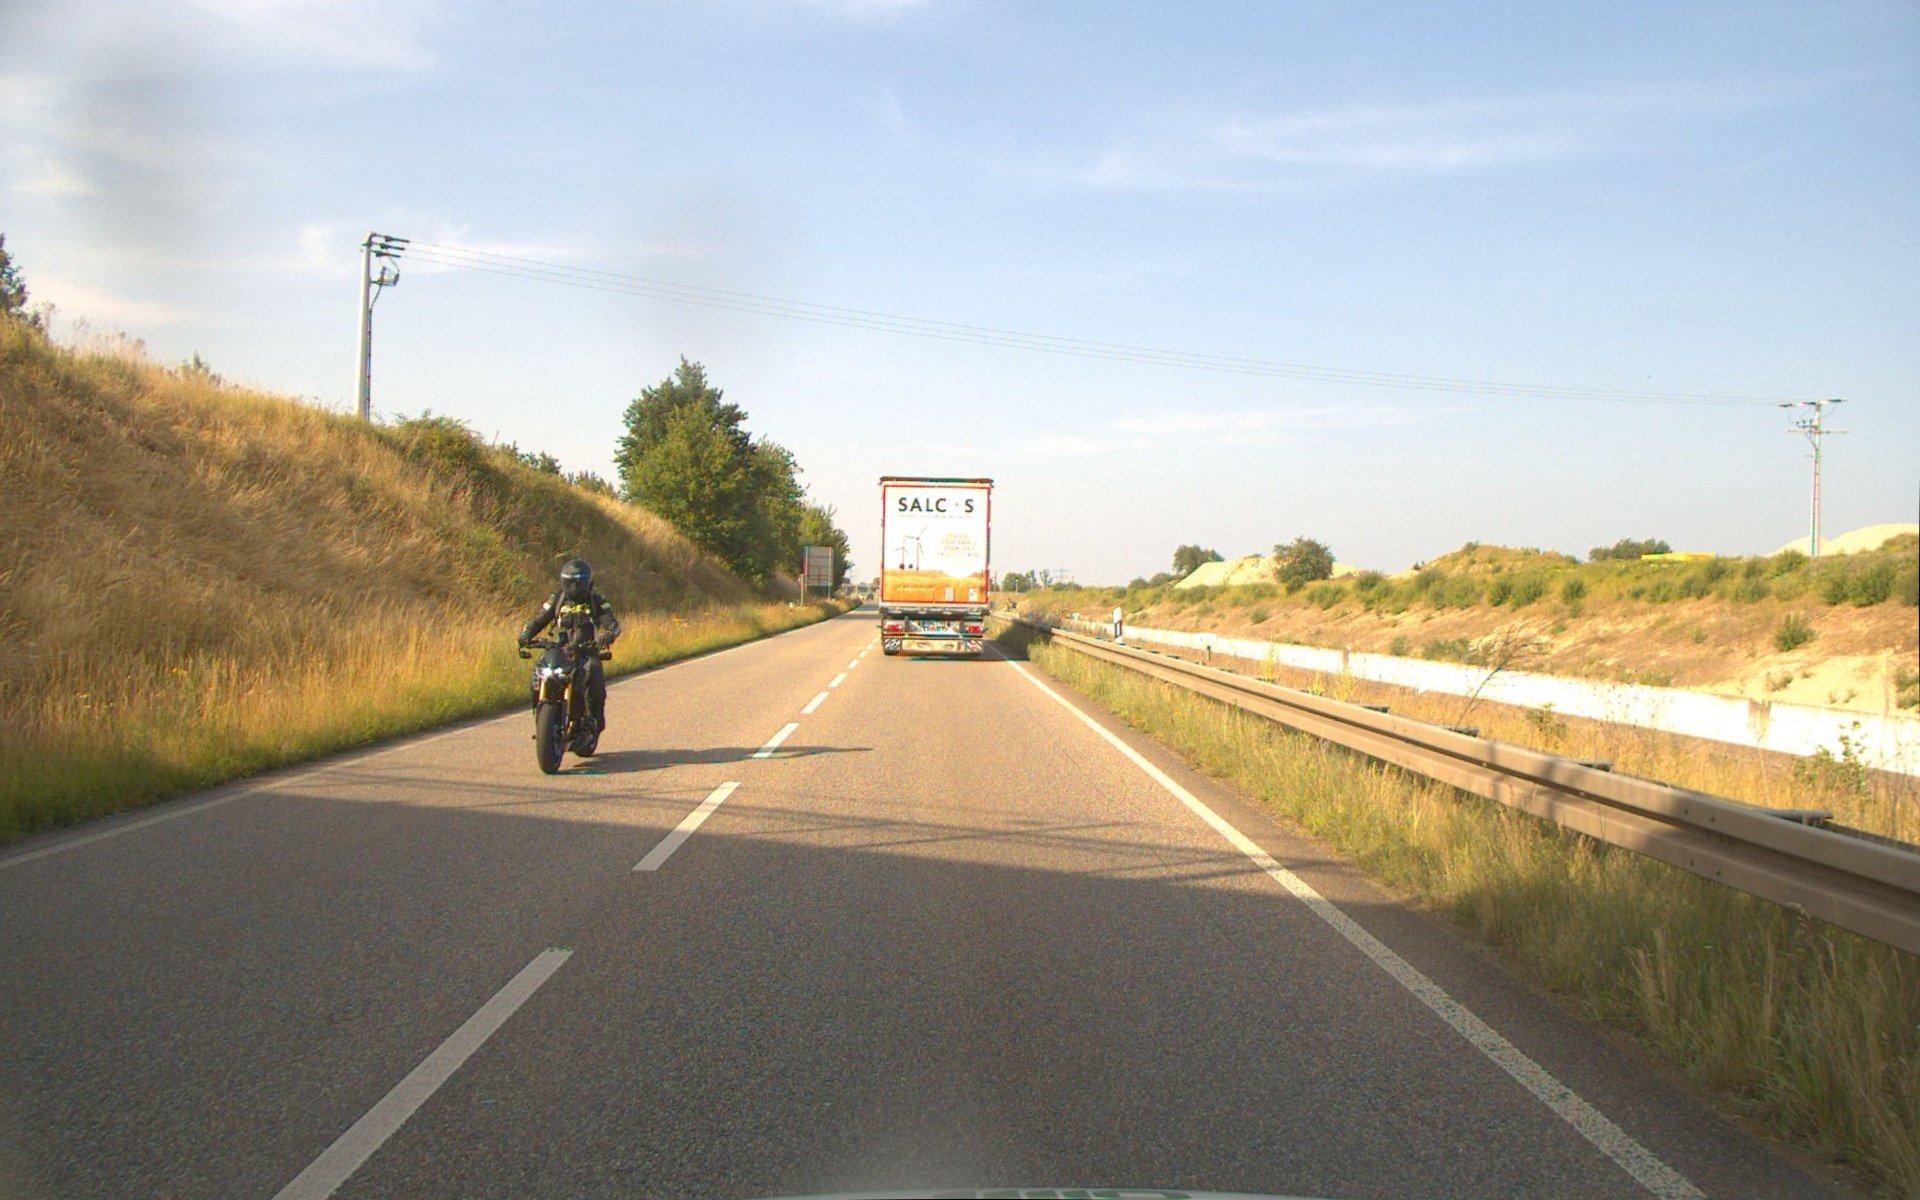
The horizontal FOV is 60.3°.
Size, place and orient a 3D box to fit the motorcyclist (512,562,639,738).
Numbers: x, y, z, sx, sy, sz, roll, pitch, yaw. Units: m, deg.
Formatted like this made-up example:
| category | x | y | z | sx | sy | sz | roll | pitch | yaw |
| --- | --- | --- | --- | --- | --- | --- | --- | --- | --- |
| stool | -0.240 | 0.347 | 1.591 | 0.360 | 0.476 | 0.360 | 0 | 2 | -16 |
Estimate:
| category | x | y | z | sx | sy | sz | roll | pitch | yaw |
| --- | --- | --- | --- | --- | --- | --- | --- | --- | --- |
| motorcyclist | -3.342 | 0.417 | 14.483 | 0.862 | 1.477 | 1.283 | 0 | 0 | -3 |

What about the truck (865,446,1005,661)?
| category | x | y | z | sx | sy | sz | roll | pitch | yaw |
| --- | --- | --- | --- | --- | --- | --- | --- | --- | --- |
| truck | -0.766 | -1.042 | 41.292 | 3.090 | 4.770 | 8.436 | 1 | 0 | -3 |

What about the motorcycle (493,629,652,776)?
| category | x | y | z | sx | sy | sz | roll | pitch | yaw |
| --- | --- | --- | --- | --- | --- | --- | --- | --- | --- |
| motorcycle | -3.322 | 0.843 | 14.411 | 1.021 | 1.137 | 2.130 | 0 | 0 | -4 |
